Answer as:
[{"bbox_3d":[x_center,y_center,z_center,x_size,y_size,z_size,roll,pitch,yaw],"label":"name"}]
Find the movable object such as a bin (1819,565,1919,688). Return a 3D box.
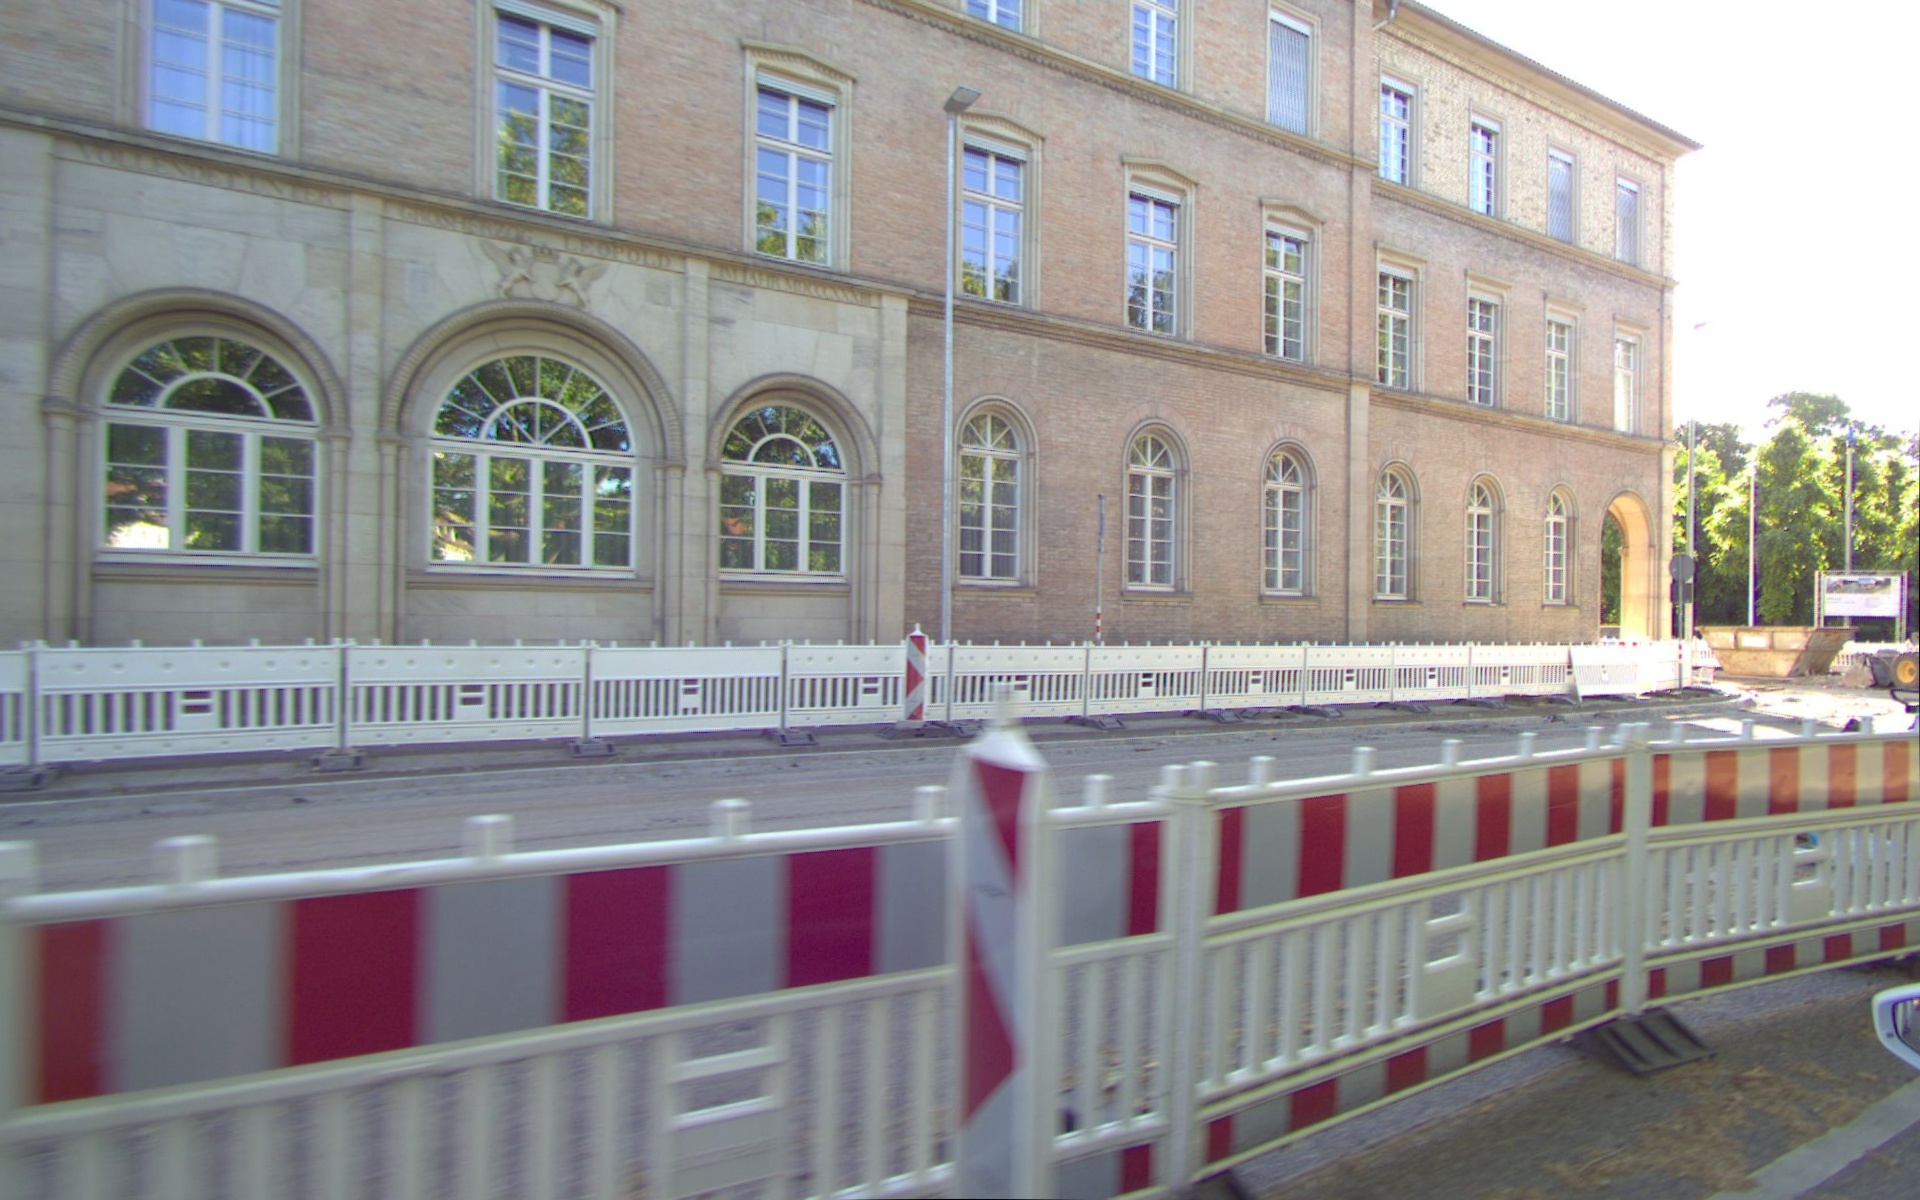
[{"bbox_3d":[25.456,0.696,25.936,2.515,3.071,5.935,0,-2,14],"label":"movable object such as a bin"}]
